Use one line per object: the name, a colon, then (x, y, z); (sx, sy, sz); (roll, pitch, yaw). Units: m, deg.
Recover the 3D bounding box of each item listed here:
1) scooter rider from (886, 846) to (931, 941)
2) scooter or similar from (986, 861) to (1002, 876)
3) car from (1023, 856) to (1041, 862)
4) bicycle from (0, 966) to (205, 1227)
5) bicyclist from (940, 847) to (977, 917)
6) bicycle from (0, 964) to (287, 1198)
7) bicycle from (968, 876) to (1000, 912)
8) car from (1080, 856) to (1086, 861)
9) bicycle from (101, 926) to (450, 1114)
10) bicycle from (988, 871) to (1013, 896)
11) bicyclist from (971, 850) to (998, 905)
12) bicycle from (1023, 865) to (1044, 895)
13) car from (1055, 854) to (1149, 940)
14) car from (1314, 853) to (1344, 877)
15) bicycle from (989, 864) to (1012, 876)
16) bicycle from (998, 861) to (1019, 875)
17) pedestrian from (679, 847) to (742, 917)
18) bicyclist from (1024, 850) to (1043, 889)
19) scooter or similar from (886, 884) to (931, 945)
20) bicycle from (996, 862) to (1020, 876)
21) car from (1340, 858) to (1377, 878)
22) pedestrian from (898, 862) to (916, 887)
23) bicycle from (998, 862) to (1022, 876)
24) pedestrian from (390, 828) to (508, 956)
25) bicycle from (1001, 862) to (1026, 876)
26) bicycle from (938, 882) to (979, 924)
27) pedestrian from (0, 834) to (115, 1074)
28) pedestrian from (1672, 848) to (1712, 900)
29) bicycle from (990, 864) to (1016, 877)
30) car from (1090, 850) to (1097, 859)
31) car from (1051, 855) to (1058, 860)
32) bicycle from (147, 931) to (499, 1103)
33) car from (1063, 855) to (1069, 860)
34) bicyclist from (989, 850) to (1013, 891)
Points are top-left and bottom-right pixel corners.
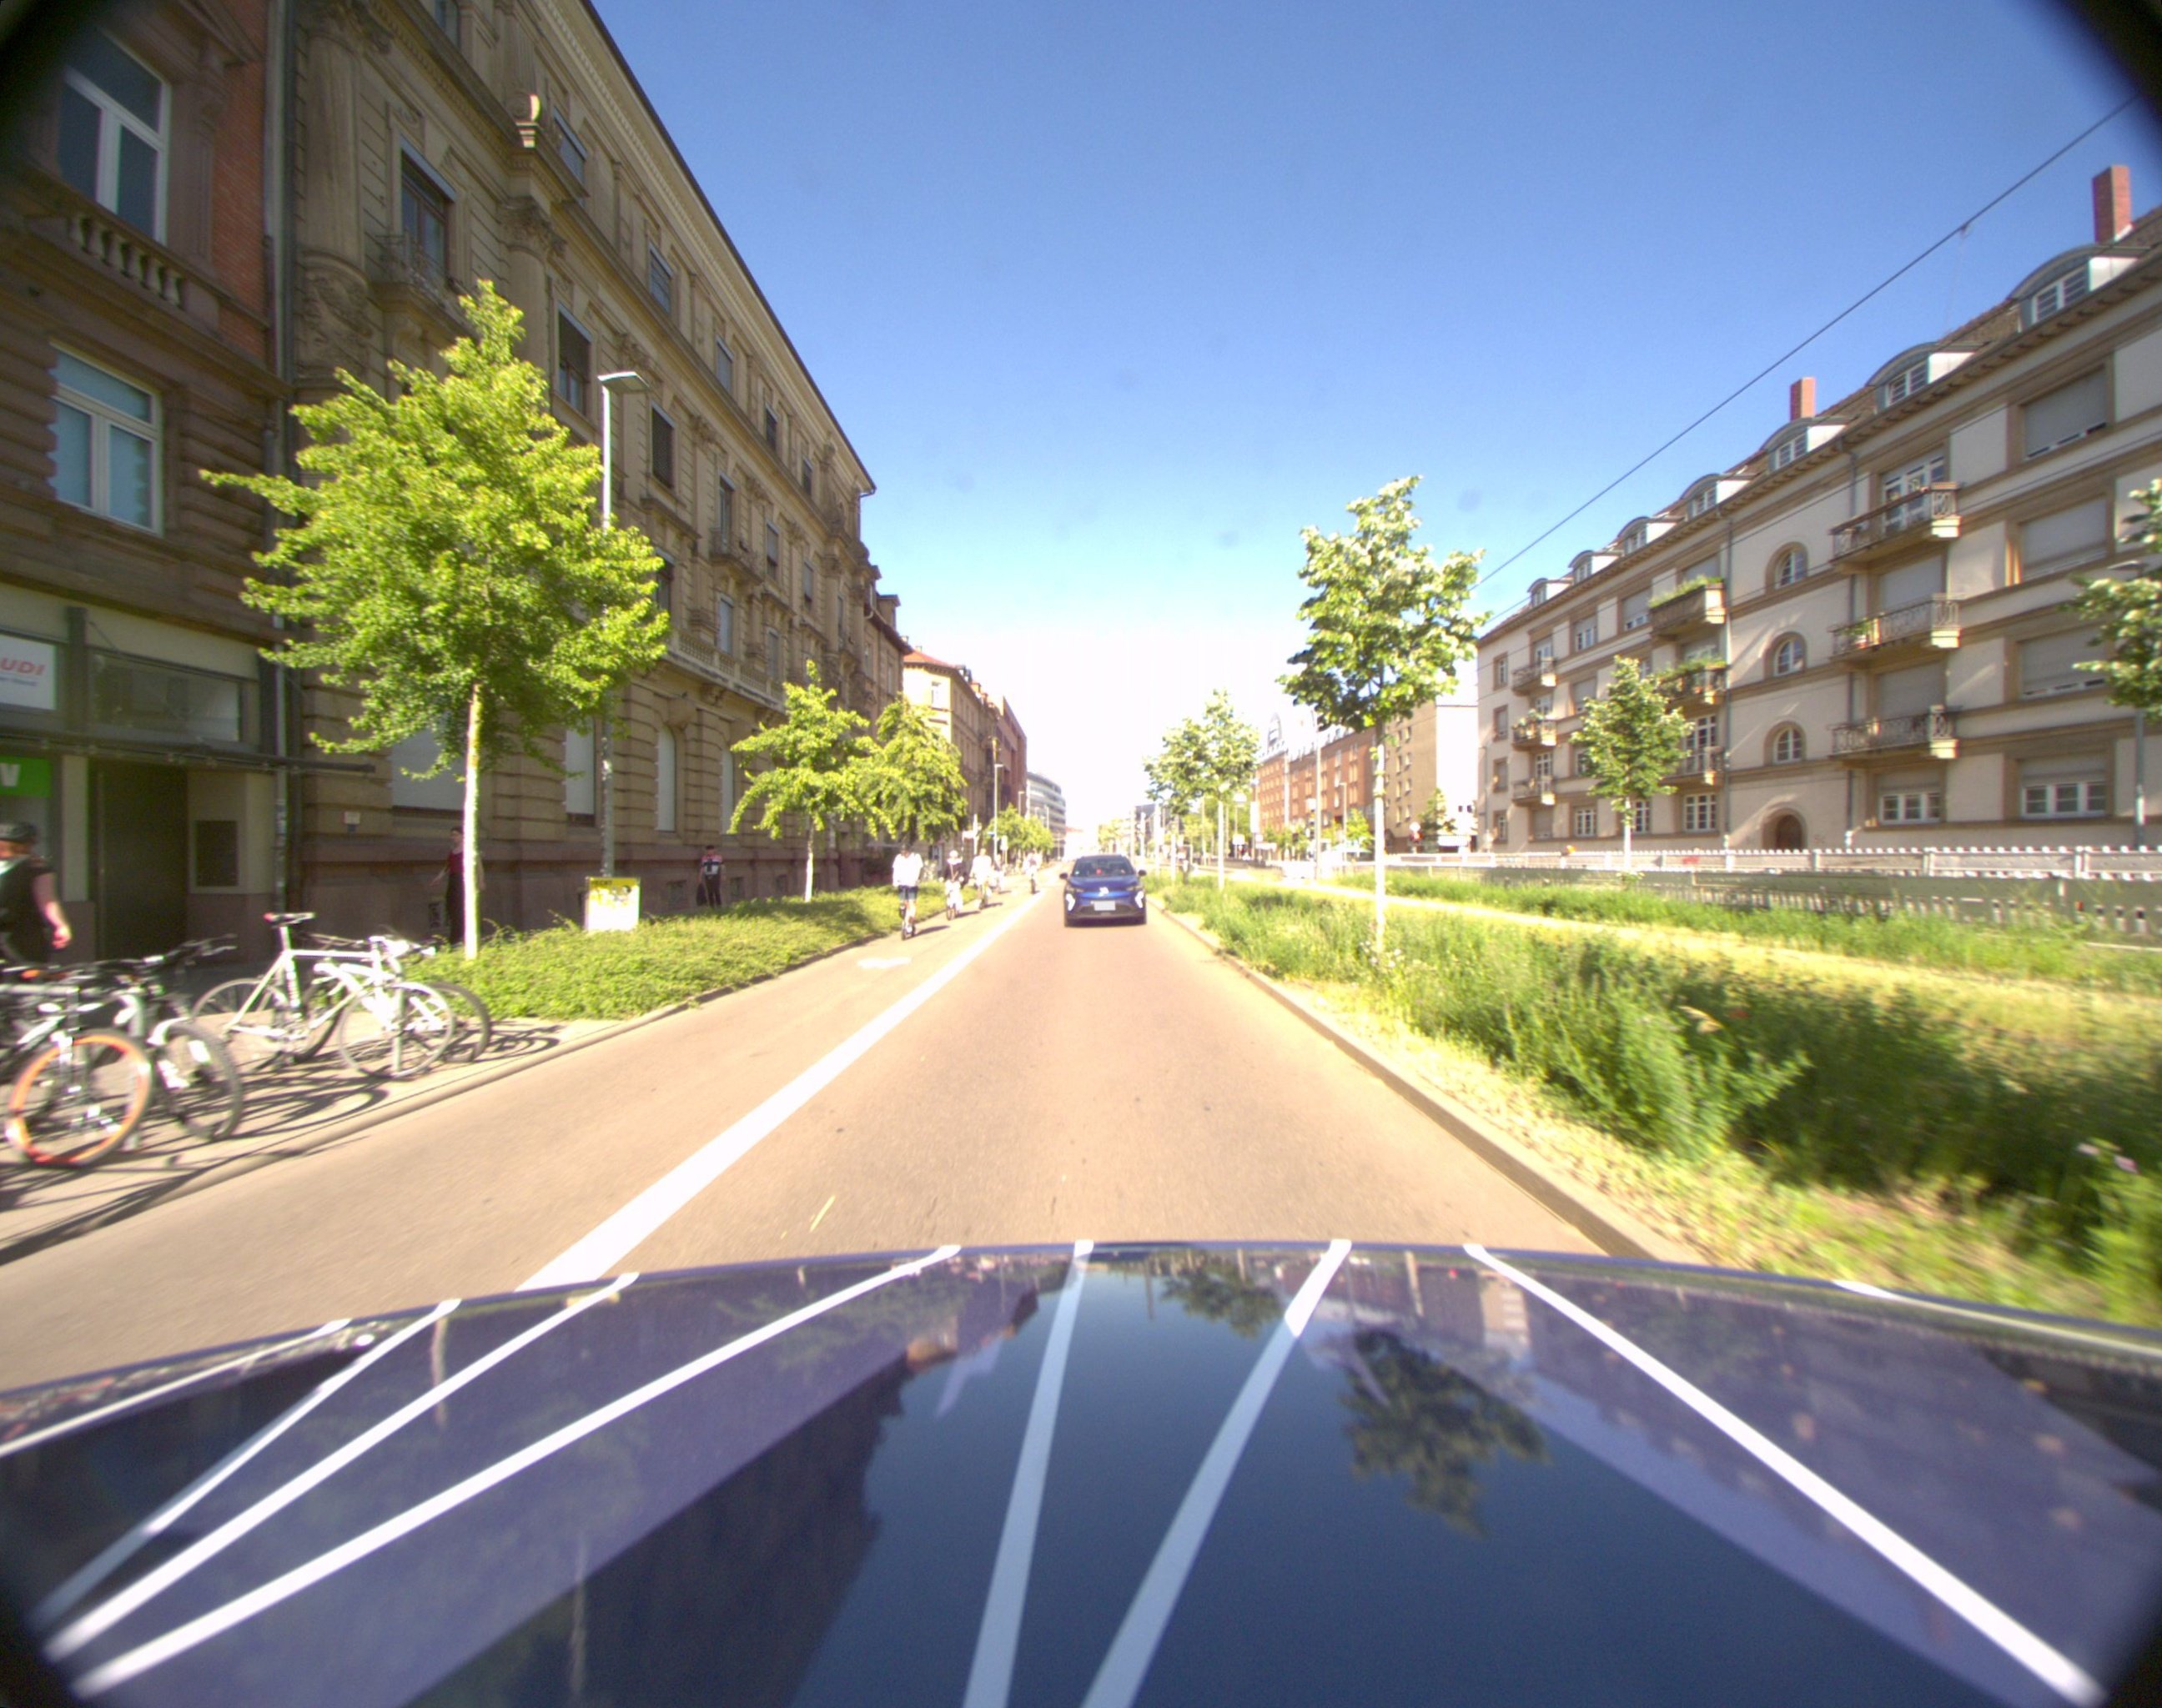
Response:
scooter rider: (-3.485, 0.787, 15.373); (0.662, 1.855, 0.898); (-1, 0, 0)
scooter or similar: (-6.628, 1.105, 57.883); (1.199, 1.191, 0.487); (0, 0, -4)
car: (-12.531, 1.181, 193.538); (4.416, 1.546, 1.759); (-1, 0, 1)
bicycle: (-5.469, 1.119, 3.632); (1.982, 1.102, 0.435); (2, 1, -2)
bicyclist: (-3.267, 0.735, 20.345); (0.725, 1.807, 1.091); (-1, 0, 3)
bicycle: (-5.422, 1.148, 3.975); (1.820, 1.049, 0.571); (2, 1, -5)
bicycle: (-2.992, 1.213, 23.662); (0.725, 1.000, 1.952); (-1, 0, 0)
car: (0.575, 1.324, 218.633); (1.745, 1.543, 4.000); (0, 0, 0)
bicycle: (-5.345, 1.092, 5.092); (1.871, 1.172, 0.373); (1, 1, -2)
bicycle: (-3.398, 1.241, 32.393); (0.830, 1.000, 1.952); (-1, 0, 0)
bicyclist: (-2.988, 0.716, 23.571); (0.700, 1.647, 0.977); (-1, 0, -1)
bicycle: (-1.956, 1.058, 31.560); (0.725, 1.187, 1.952); (-1, 0, 0)
car: (0.435, 0.842, 16.958); (1.758, 1.576, 4.420); (-3, 0, 0)
car: (25.457, 1.072, 78.184); (1.997, 2.283, 5.192); (-1, 1, 8)
bicycle: (-6.373, 1.237, 60.033); (1.717, 0.920, 0.497); (0, 1, 0)
bicycle: (-6.126, 1.215, 64.272); (1.678, 1.055, 1.134); (4, 1, -1)
pedestrian: (-9.331, 0.685, 19.194); (0.972, 1.682, 1.114); (2, 1, 2)
bicyclist: (-1.963, 0.645, 31.557); (0.725, 1.595, 0.895); (-1, 0, 0)
scooter or similar: (-3.482, 1.206, 15.435); (0.647, 1.151, 1.150); (-1, 0, 0)
bicycle: (-6.080, 1.239, 63.127); (1.903, 1.024, 1.030); (2, 1, -3)
car: (24.400, 1.173, 66.830); (1.699, 1.630, 3.999); (-1, 1, -1)
pedestrian: (-8.706, 1.021, 38.061); (0.719, 1.176, 0.881); (0, 1, 0)
bicycle: (-5.738, 1.224, 61.615); (1.876, 1.043, 0.608); (2, 1, -4)
pedestrian: (-9.994, 0.573, 12.055); (0.891, 1.909, 1.098); (2, 1, 6)
bicycle: (-5.806, 1.290, 65.676); (2.062, 1.036, 0.847); (3, 1, -1)
bicycle: (-3.256, 1.282, 20.350); (0.725, 1.000, 1.952); (-1, 0, 1)
pedestrian: (-8.392, 0.721, 5.793); (0.850, 1.725, 0.901); (3, 0, -16)
pedestrian: (22.128, 0.701, 27.523); (0.768, 1.852, 0.871); (-1, 1, 0)
bicycle: (-6.121, 1.278, 59.401); (1.905, 0.906, 0.592); (2, 1, 9)
car: (3.266, 0.120, 205.172); (1.758, 2.472, 4.610); (-1, 0, 0)
car: (-7.716, 0.979, 221.236); (1.745, 1.543, 4.000); (0, 0, 0)
bicycle: (-5.362, 1.147, 5.448); (1.897, 1.102, 0.517); (2, 1, -4)
car: (-4.591, 1.030, 236.610); (1.745, 1.543, 4.000); (0, 0, 0)
bicyclist: (-3.408, 0.692, 32.395); (0.854, 1.716, 0.989); (-1, 0, 0)
